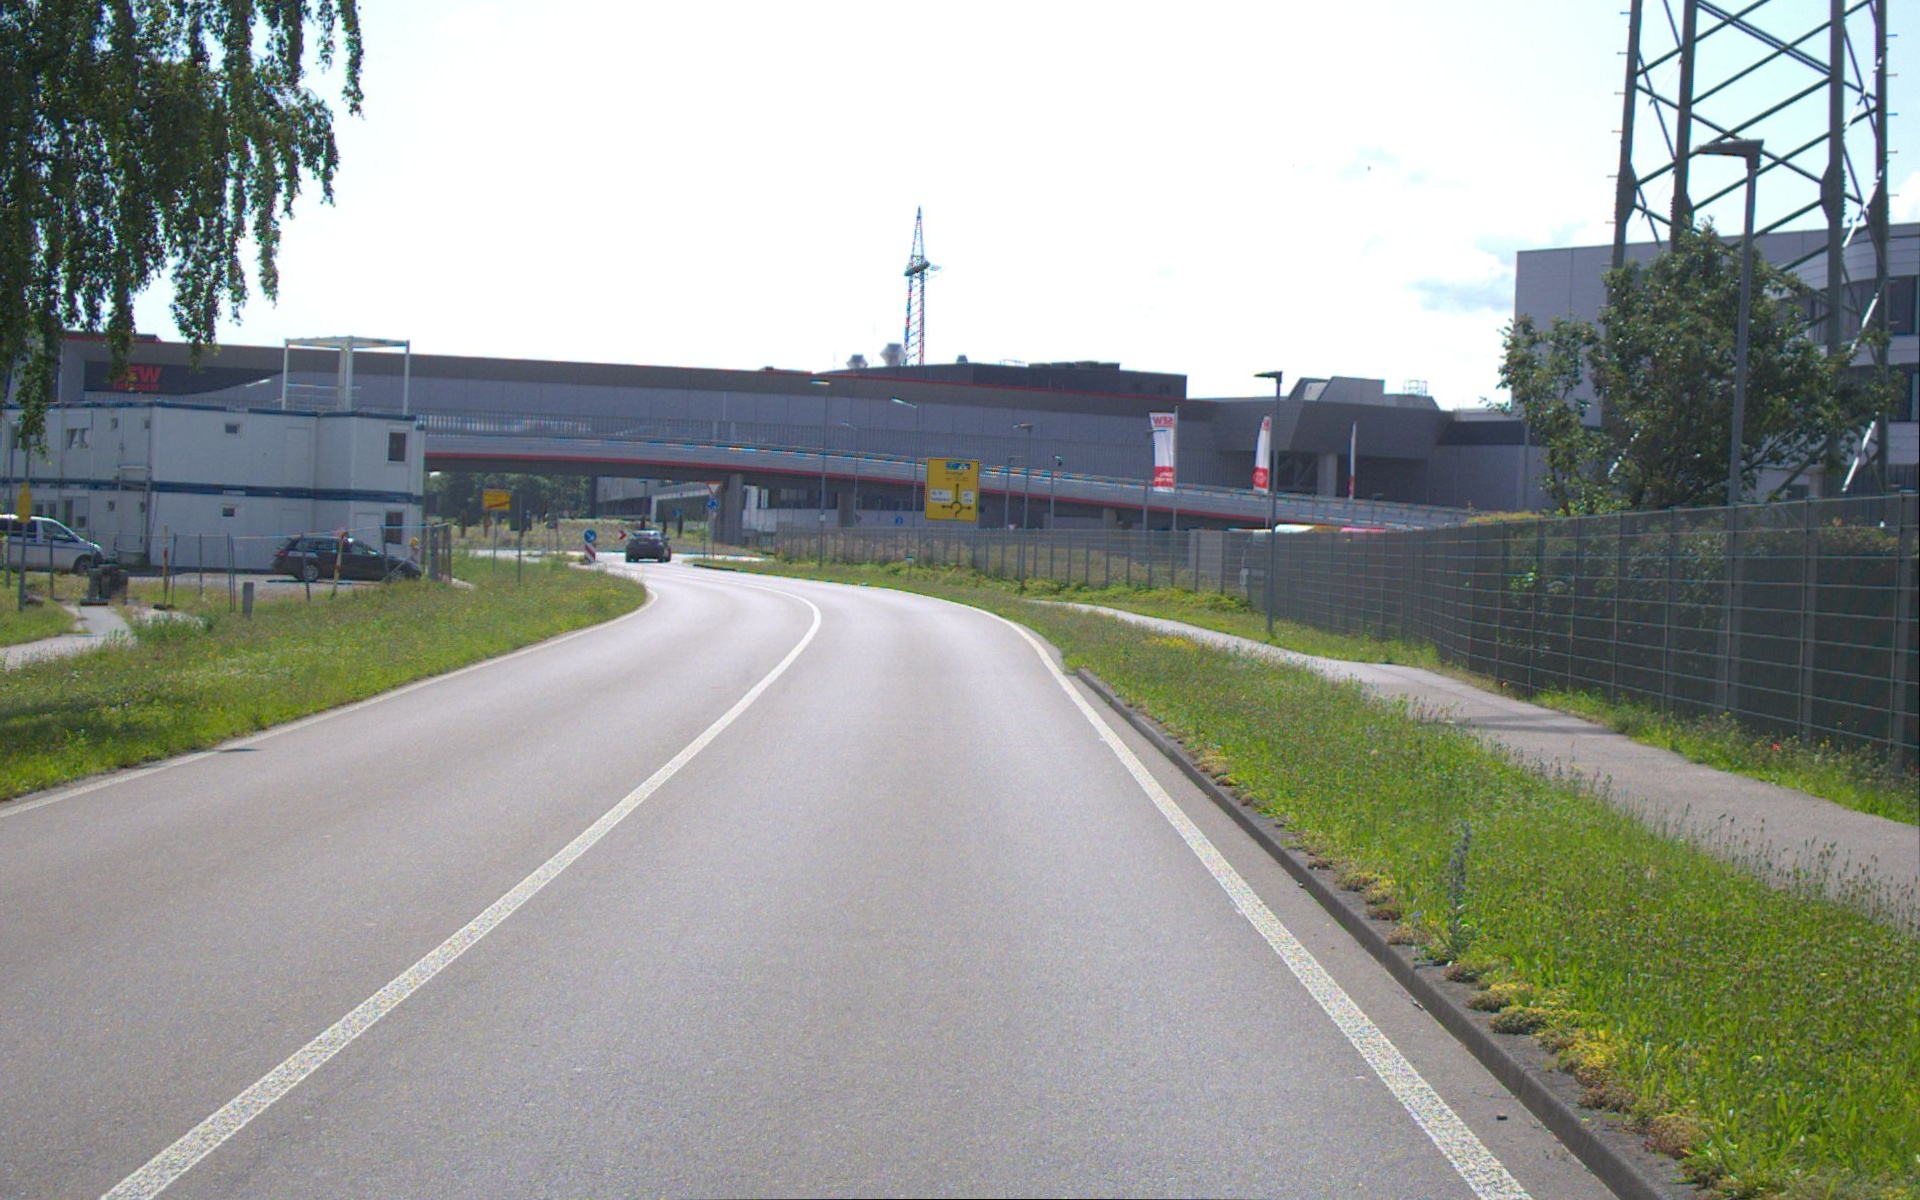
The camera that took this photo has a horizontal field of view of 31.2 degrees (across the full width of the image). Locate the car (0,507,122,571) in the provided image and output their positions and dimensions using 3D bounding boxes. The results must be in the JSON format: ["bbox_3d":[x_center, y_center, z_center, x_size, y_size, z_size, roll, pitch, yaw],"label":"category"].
[{"bbox_3d":[-29.215,-1.951,108.304,5.006,1.860,2.000,2,1,-39],"label":"car"}]

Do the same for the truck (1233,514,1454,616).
[{"bbox_3d":[16.483,-1.446,146.892,10.943,4.158,2.821,1,1,-42],"label":"truck"}]

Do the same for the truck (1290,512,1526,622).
[{"bbox_3d":[18.048,-1.271,137.866,10.943,4.242,3.027,0,1,-43],"label":"truck"}]

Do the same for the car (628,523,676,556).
[{"bbox_3d":[-14.858,-2.893,165.873,1.993,1.539,4.000,1,1,-1],"label":"car"}]

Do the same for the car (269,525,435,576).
[{"bbox_3d":[-19.508,-1.581,110.283,4.967,1.412,2.001,2,1,-19],"label":"car"}]

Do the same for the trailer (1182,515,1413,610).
[{"bbox_3d":[16.776,-1.796,169.545,14.024,4.423,2.765,0,1,-44],"label":"trailer"}]
